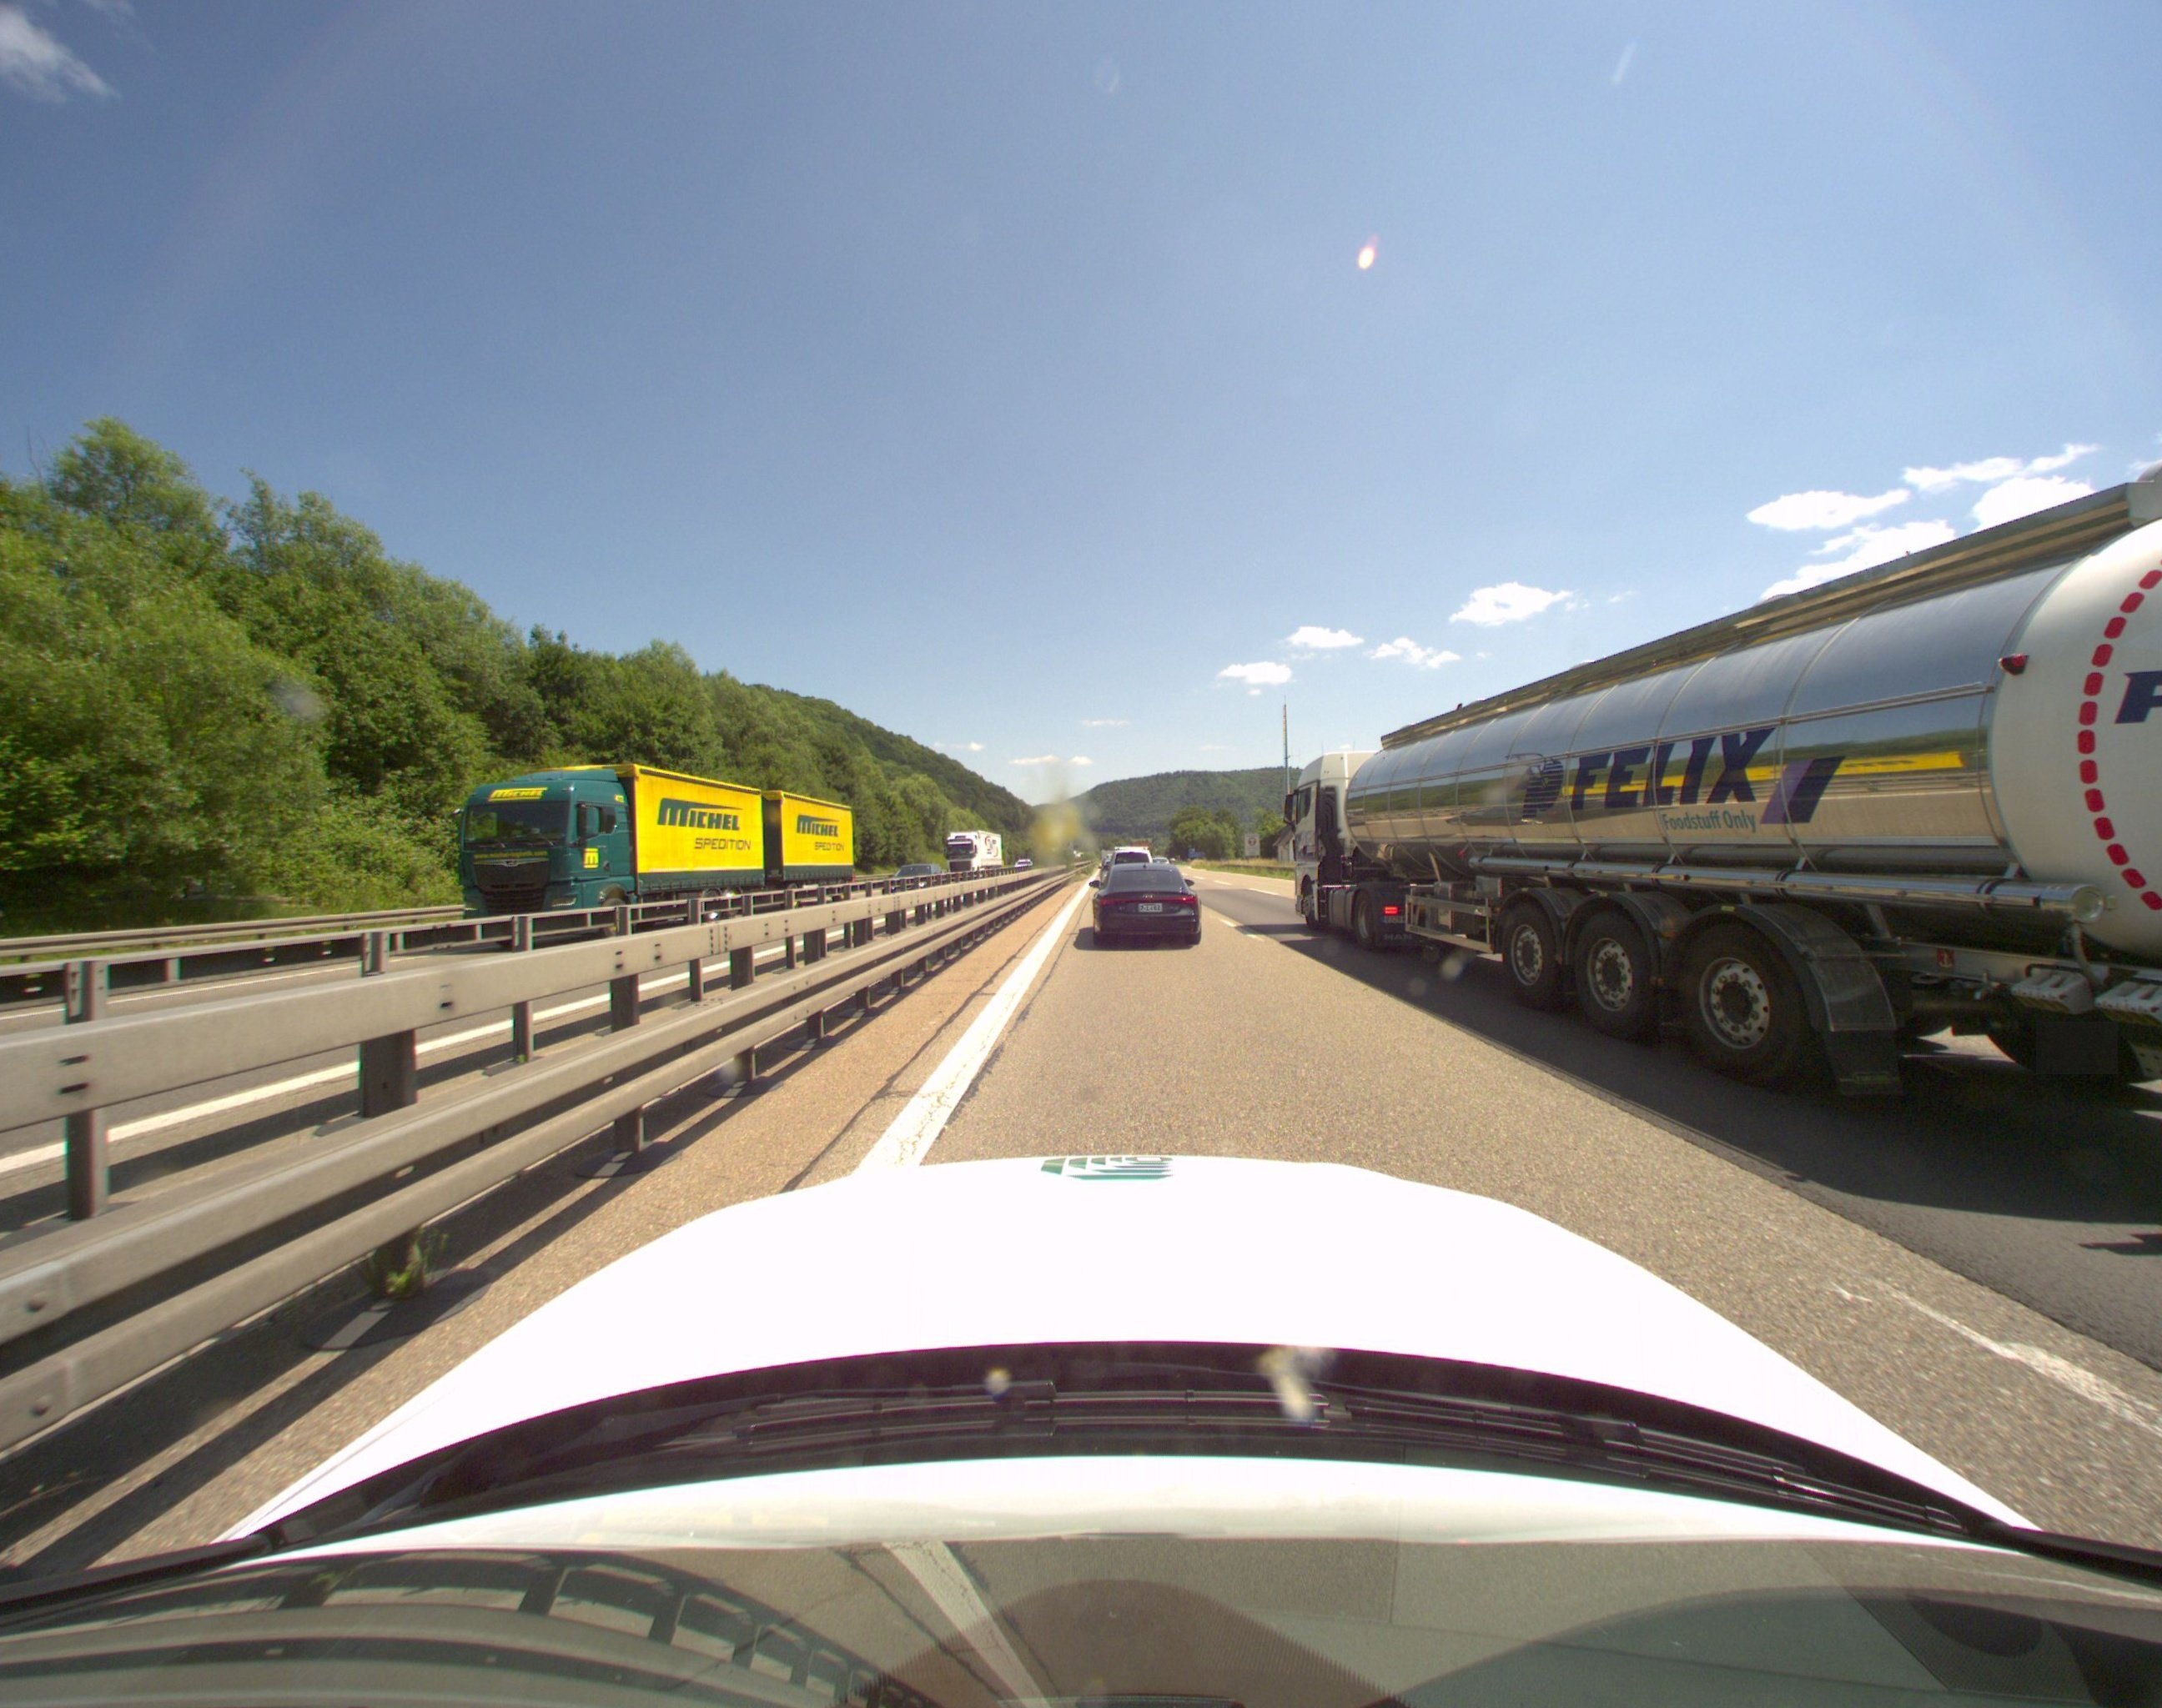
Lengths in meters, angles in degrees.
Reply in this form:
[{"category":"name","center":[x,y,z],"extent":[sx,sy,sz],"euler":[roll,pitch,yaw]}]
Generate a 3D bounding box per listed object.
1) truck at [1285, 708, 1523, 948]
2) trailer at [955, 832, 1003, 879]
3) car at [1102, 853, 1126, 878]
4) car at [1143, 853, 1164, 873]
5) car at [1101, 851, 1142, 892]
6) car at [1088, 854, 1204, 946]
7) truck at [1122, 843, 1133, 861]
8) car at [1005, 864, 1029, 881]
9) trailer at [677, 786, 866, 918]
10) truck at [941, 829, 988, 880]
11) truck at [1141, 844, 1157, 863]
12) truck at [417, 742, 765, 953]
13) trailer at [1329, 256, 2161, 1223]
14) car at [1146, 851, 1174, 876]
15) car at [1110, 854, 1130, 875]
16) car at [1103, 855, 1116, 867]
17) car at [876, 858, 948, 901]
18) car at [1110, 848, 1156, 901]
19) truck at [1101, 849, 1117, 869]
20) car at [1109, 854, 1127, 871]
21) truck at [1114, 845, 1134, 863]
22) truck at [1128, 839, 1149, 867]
[{"category":"truck","center":[5.741,-0.391,15.462],"extent":[2.502,3.758,5.246],"euler":[0,-1,1]},{"category":"trailer","center":[-9.434,0.145,76.816],"extent":[2.846,4.076,11.266],"euler":[0,-1,1]},{"category":"car","center":[2.829,0.992,70.549],"extent":[1.986,2.014,4.001],"euler":[-1,-1,1]},{"category":"car","center":[7.403,0.917,83.779],"extent":[1.985,2.003,4.003],"euler":[-1,-1,3]},{"category":"car","center":[2.064,0.861,42.257],"extent":[1.986,2.014,4.001],"euler":[0,-1,2]},{"category":"car","center":[1.074,0.766,15.278],"extent":[1.844,1.488,4.082],"euler":[0,-1,0]},{"category":"truck","center":[9.152,-0.294,161.245],"extent":[1.986,3.447,11.816],"euler":[0,0,2]},{"category":"car","center":[-5.786,1.662,74.291],"extent":[1.740,1.519,4.002],"euler":[0,-1,2]},{"category":"trailer","center":[-11.160,-0.010,30.930],"extent":[2.816,4.147,10.410],"euler":[0,-1,2]},{"category":"truck","center":[-9.690,0.082,68.233],"extent":[2.898,4.102,5.850],"euler":[0,-1,2]},{"category":"truck","center":[14.701,0.015,177.269],"extent":[2.806,4.003,14.964],"euler":[0,0,3]},{"category":"truck","center":[-11.544,-0.089,20.901],"extent":[2.816,4.147,9.619],"euler":[0,-1,2]},{"category":"trailer","center":[5.571,-0.401,8.556],"extent":[2.529,3.735,11.894],"euler":[0,0,1]},{"category":"car","center":[6.518,0.771,67.641],"extent":[1.986,2.013,4.002],"euler":[-2,0,2]},{"category":"car","center":[3.967,1.066,83.146],"extent":[1.986,2.014,4.001],"euler":[-1,-1,1]},{"category":"car","center":[4.051,0.987,116.464],"extent":[1.705,1.618,4.003],"euler":[-1,-1,3]},{"category":"car","center":[-6.775,0.969,33.127],"extent":[1.839,1.596,4.751],"euler":[-1,0,0]},{"category":"car","center":[1.849,0.716,29.931],"extent":[1.570,1.833,4.001],"euler":[0,-1,2]},{"category":"truck","center":[5.142,0.852,147.468],"extent":[2.618,3.440,11.426],"euler":[-1,-1,2]},{"category":"car","center":[3.663,0.798,79.544],"extent":[1.705,1.618,4.003],"euler":[-1,-1,3]},{"category":"truck","center":[11.341,0.037,214.152],"extent":[3.772,4.414,14.987],"euler":[-2,0,8]},{"category":"truck","center":[8.699,-0.131,124.405],"extent":[2.806,4.003,14.964],"euler":[0,0,3]}]
